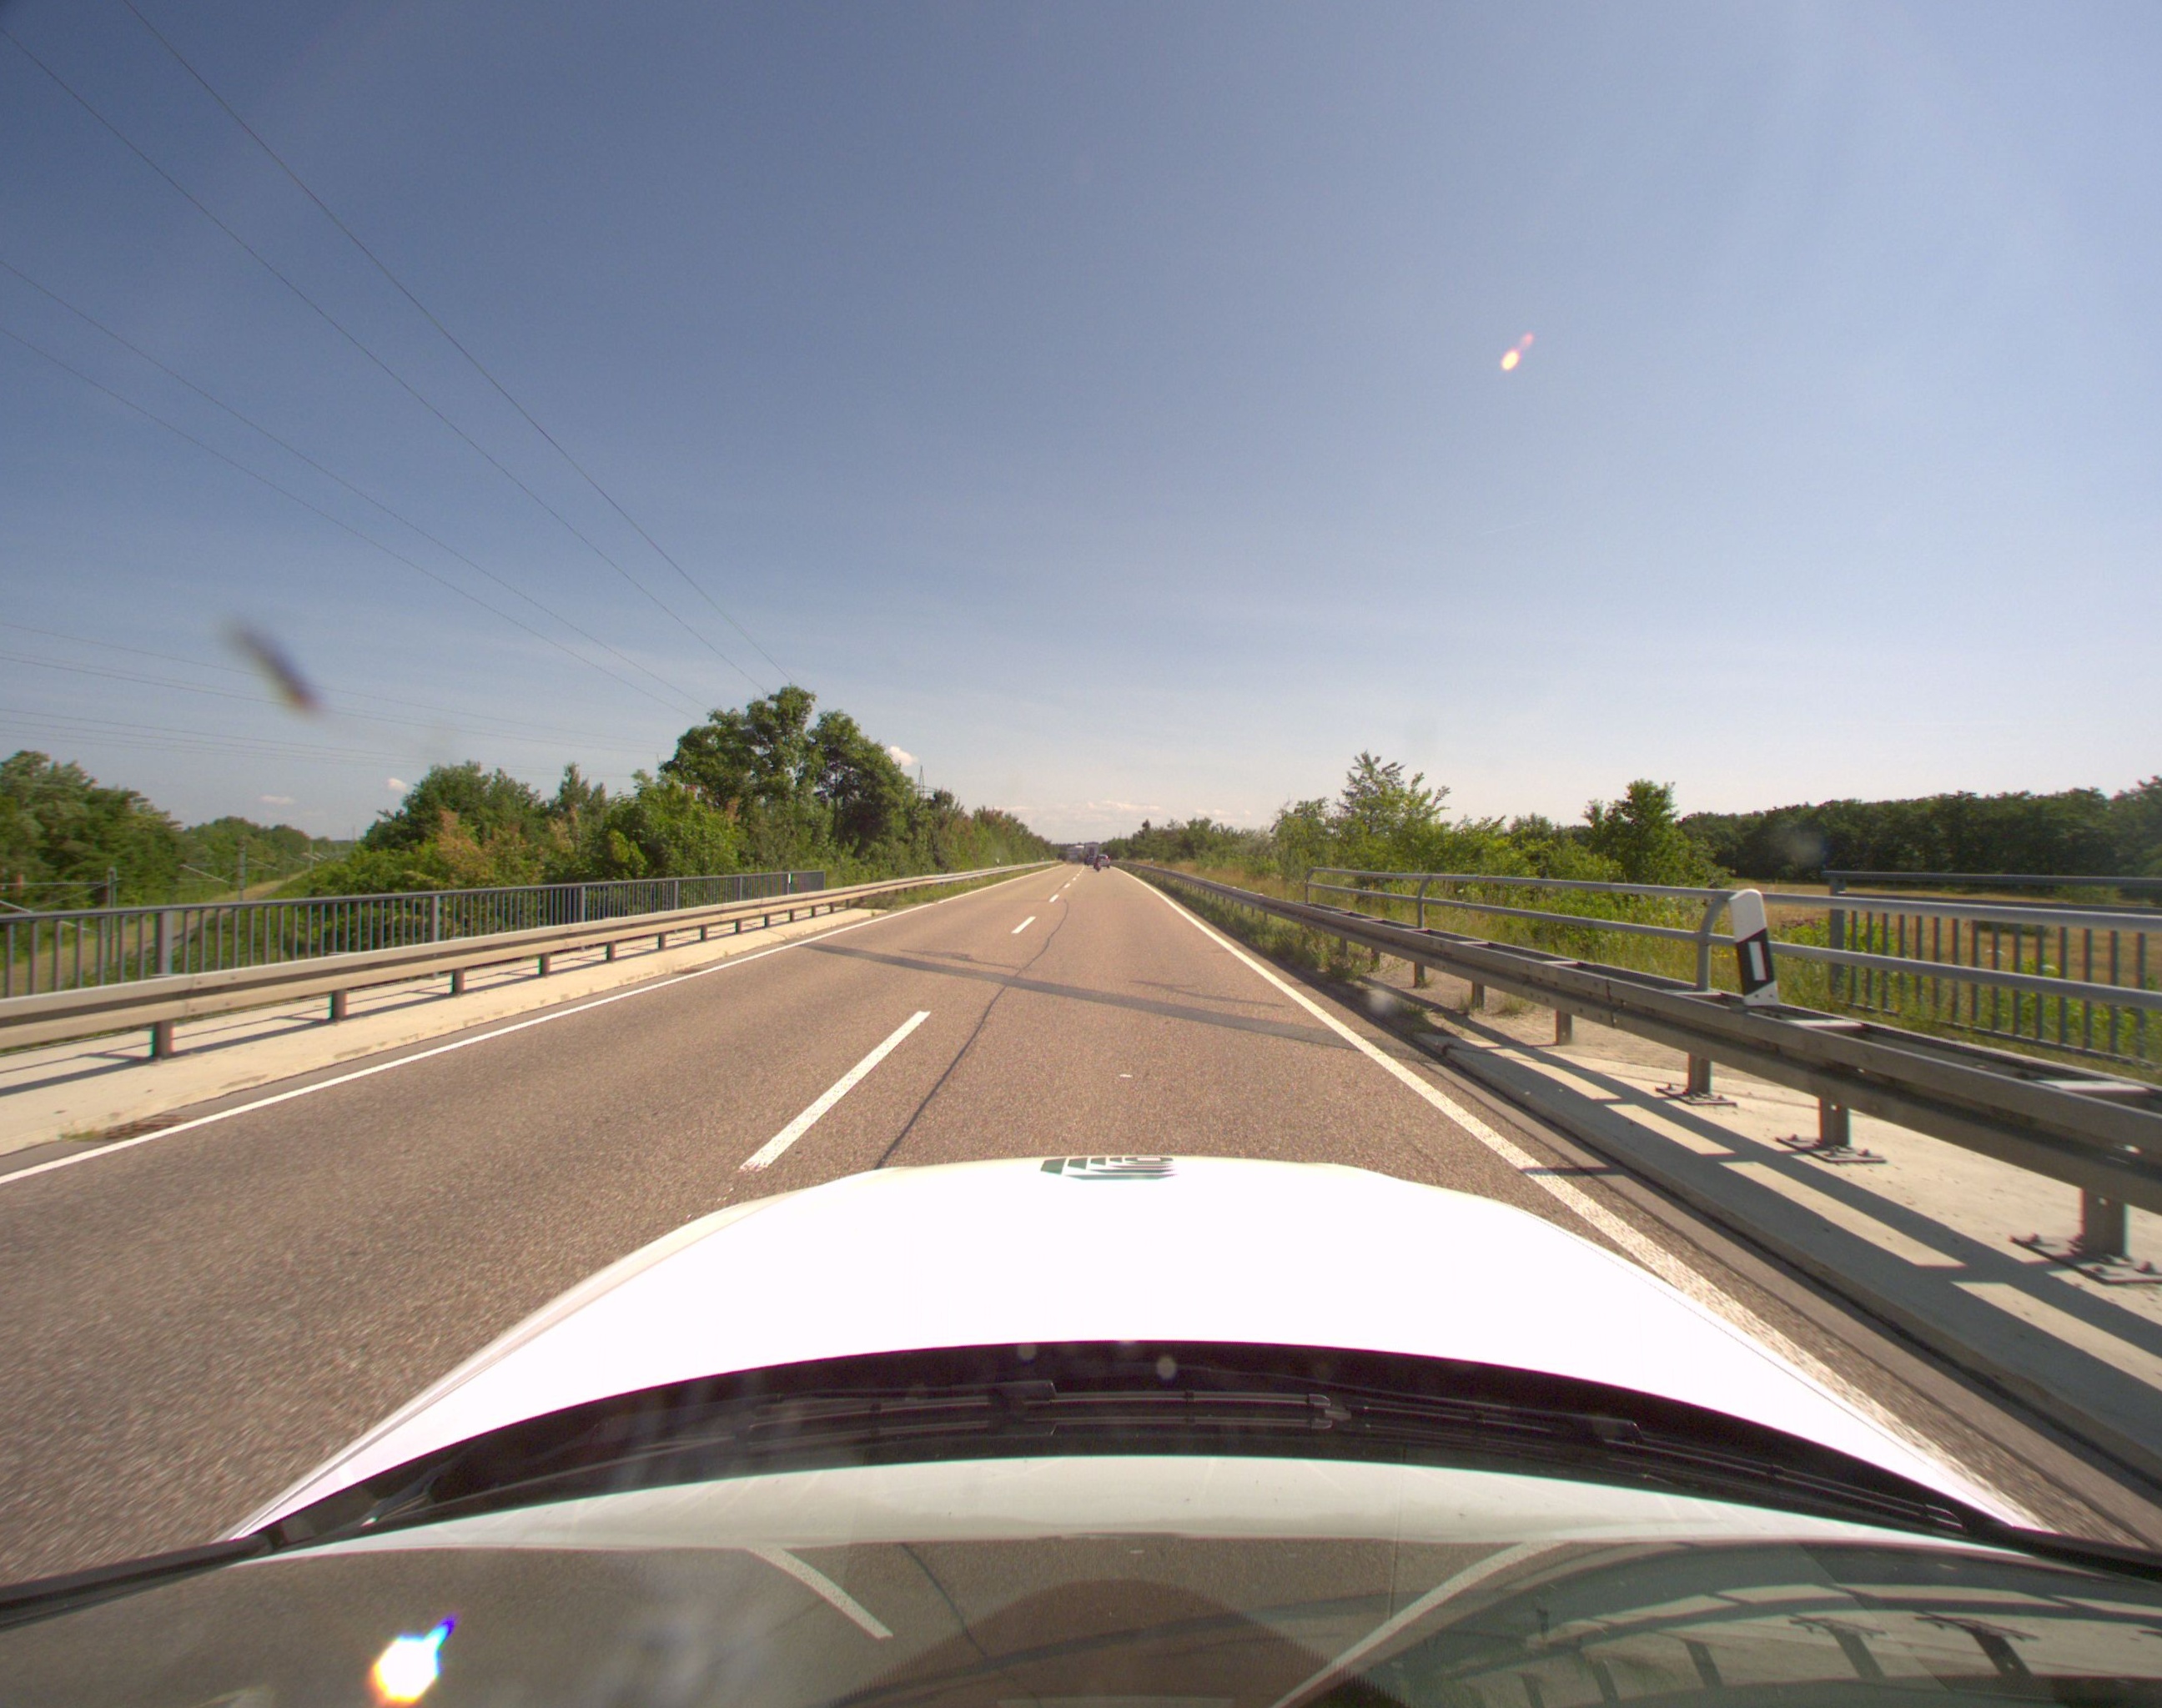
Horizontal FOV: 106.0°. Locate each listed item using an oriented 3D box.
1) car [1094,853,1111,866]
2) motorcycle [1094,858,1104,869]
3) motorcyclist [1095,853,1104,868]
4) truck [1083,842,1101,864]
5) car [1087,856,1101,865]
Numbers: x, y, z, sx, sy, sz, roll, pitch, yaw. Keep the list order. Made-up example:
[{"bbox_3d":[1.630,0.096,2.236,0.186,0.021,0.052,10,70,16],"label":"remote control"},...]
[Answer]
[{"bbox_3d":[2.479,0.597,94.533,1.820,1.451,3.999,-1,1,0],"label":"car"},{"bbox_3d":[1.659,0.853,73.815,0.777,0.975,2.364,-1,1,4],"label":"motorcycle"},{"bbox_3d":[1.667,0.572,73.833,0.777,1.325,0.814,-1,0,3],"label":"motorcyclist"},{"bbox_3d":[1.980,-0.176,153.588,3.231,3.978,9.441,-1,0,0],"label":"truck"},{"bbox_3d":[2.031,0.991,126.410,1.858,1.420,4.004,0,1,3],"label":"car"}]
